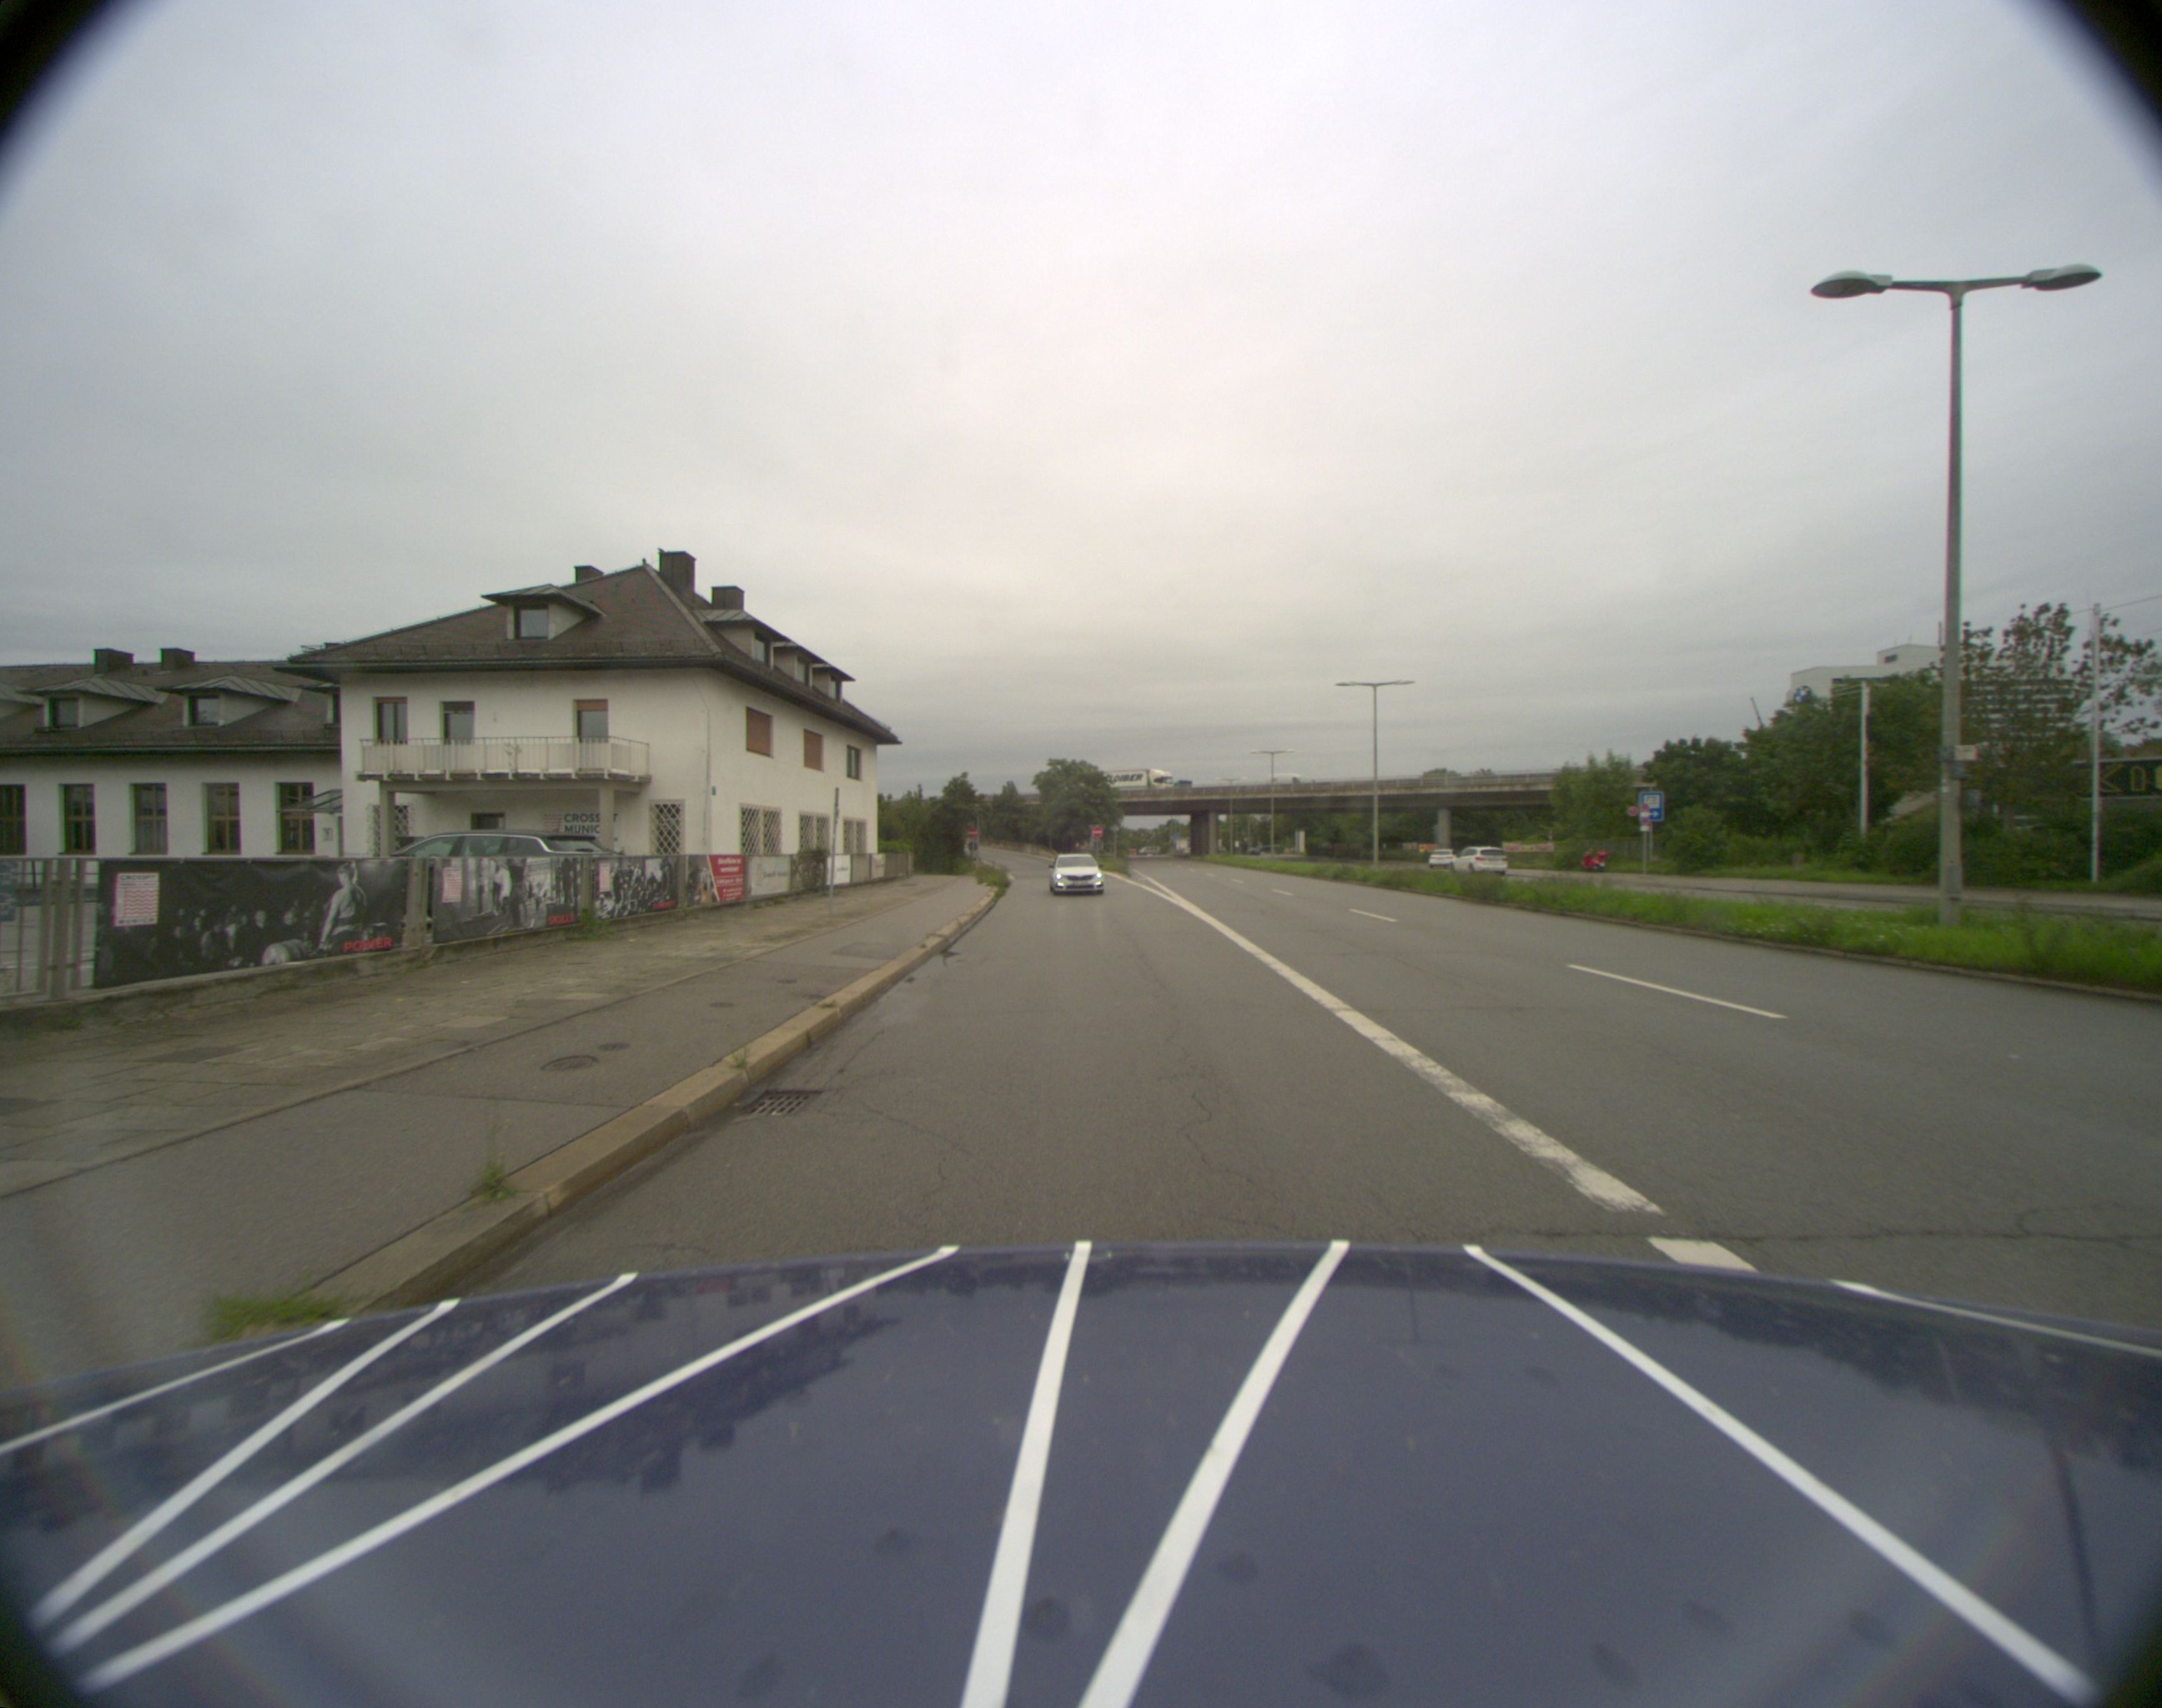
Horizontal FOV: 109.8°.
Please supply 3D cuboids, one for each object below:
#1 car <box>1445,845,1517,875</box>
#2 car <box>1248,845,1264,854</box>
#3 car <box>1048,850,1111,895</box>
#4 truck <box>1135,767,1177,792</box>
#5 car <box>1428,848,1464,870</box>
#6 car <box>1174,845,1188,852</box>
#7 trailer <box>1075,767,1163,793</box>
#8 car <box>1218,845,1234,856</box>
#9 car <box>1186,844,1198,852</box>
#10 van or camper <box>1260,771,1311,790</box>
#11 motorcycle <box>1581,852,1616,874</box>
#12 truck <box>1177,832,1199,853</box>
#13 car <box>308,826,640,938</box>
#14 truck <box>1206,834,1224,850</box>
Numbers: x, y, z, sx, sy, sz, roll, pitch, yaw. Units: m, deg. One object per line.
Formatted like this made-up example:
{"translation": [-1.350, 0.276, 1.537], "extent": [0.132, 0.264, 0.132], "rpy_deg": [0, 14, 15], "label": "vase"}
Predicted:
{"translation": [23.069, 0.293, 44.002], "extent": [1.998, 1.563, 4.574], "rpy_deg": [0, 1, 4], "label": "car"}
{"translation": [30.460, -0.853, 132.619], "extent": [1.973, 1.389, 4.817], "rpy_deg": [1, 2, 5], "label": "car"}
{"translation": [-0.134, 0.616, 27.894], "extent": [1.915, 1.439, 4.553], "rpy_deg": [-1, 1, -5], "label": "car"}
{"translation": [10.284, -10.163, 104.409], "extent": [5.178, 3.228, 2.602], "rpy_deg": [3, 4, 42], "label": "truck"}
{"translation": [28.543, 0.342, 59.336], "extent": [1.994, 1.563, 5.128], "rpy_deg": [1, 2, 32], "label": "car"}
{"translation": [22.670, -1.182, 172.015], "extent": [1.975, 1.574, 4.587], "rpy_deg": [0, 0, -8], "label": "car"}
{"translation": [5.228, -10.531, 108.926], "extent": [14.015, 3.280, 2.671], "rpy_deg": [3, 4, 41], "label": "trailer"}
{"translation": [25.016, -0.609, 131.186], "extent": [1.974, 1.574, 4.590], "rpy_deg": [2, 2, 1], "label": "car"}
{"translation": [23.773, -1.247, 163.085], "extent": [1.973, 1.574, 4.590], "rpy_deg": [2, 2, 2], "label": "car"}
{"translation": [24.799, -8.874, 92.089], "extent": [5.490, 2.002, 2.336], "rpy_deg": [2, 3, 42], "label": "van or camper"}
{"translation": [28.933, 0.473, 42.513], "extent": [0.534, 1.169, 2.196], "rpy_deg": [0, 1, 3], "label": "motorcycle"}
{"translation": [25.152, -2.809, 178.806], "extent": [2.799, 4.566, 9.592], "rpy_deg": [2, 2, -6], "label": "truck"}
{"translation": [-10.126, 0.435, 12.926], "extent": [4.106, 1.716, 1.927], "rpy_deg": [-1, 1, 2], "label": "car"}
{"translation": [25.453, -2.352, 144.398], "extent": [2.258, 2.960, 7.232], "rpy_deg": [2, 2, 3], "label": "truck"}
